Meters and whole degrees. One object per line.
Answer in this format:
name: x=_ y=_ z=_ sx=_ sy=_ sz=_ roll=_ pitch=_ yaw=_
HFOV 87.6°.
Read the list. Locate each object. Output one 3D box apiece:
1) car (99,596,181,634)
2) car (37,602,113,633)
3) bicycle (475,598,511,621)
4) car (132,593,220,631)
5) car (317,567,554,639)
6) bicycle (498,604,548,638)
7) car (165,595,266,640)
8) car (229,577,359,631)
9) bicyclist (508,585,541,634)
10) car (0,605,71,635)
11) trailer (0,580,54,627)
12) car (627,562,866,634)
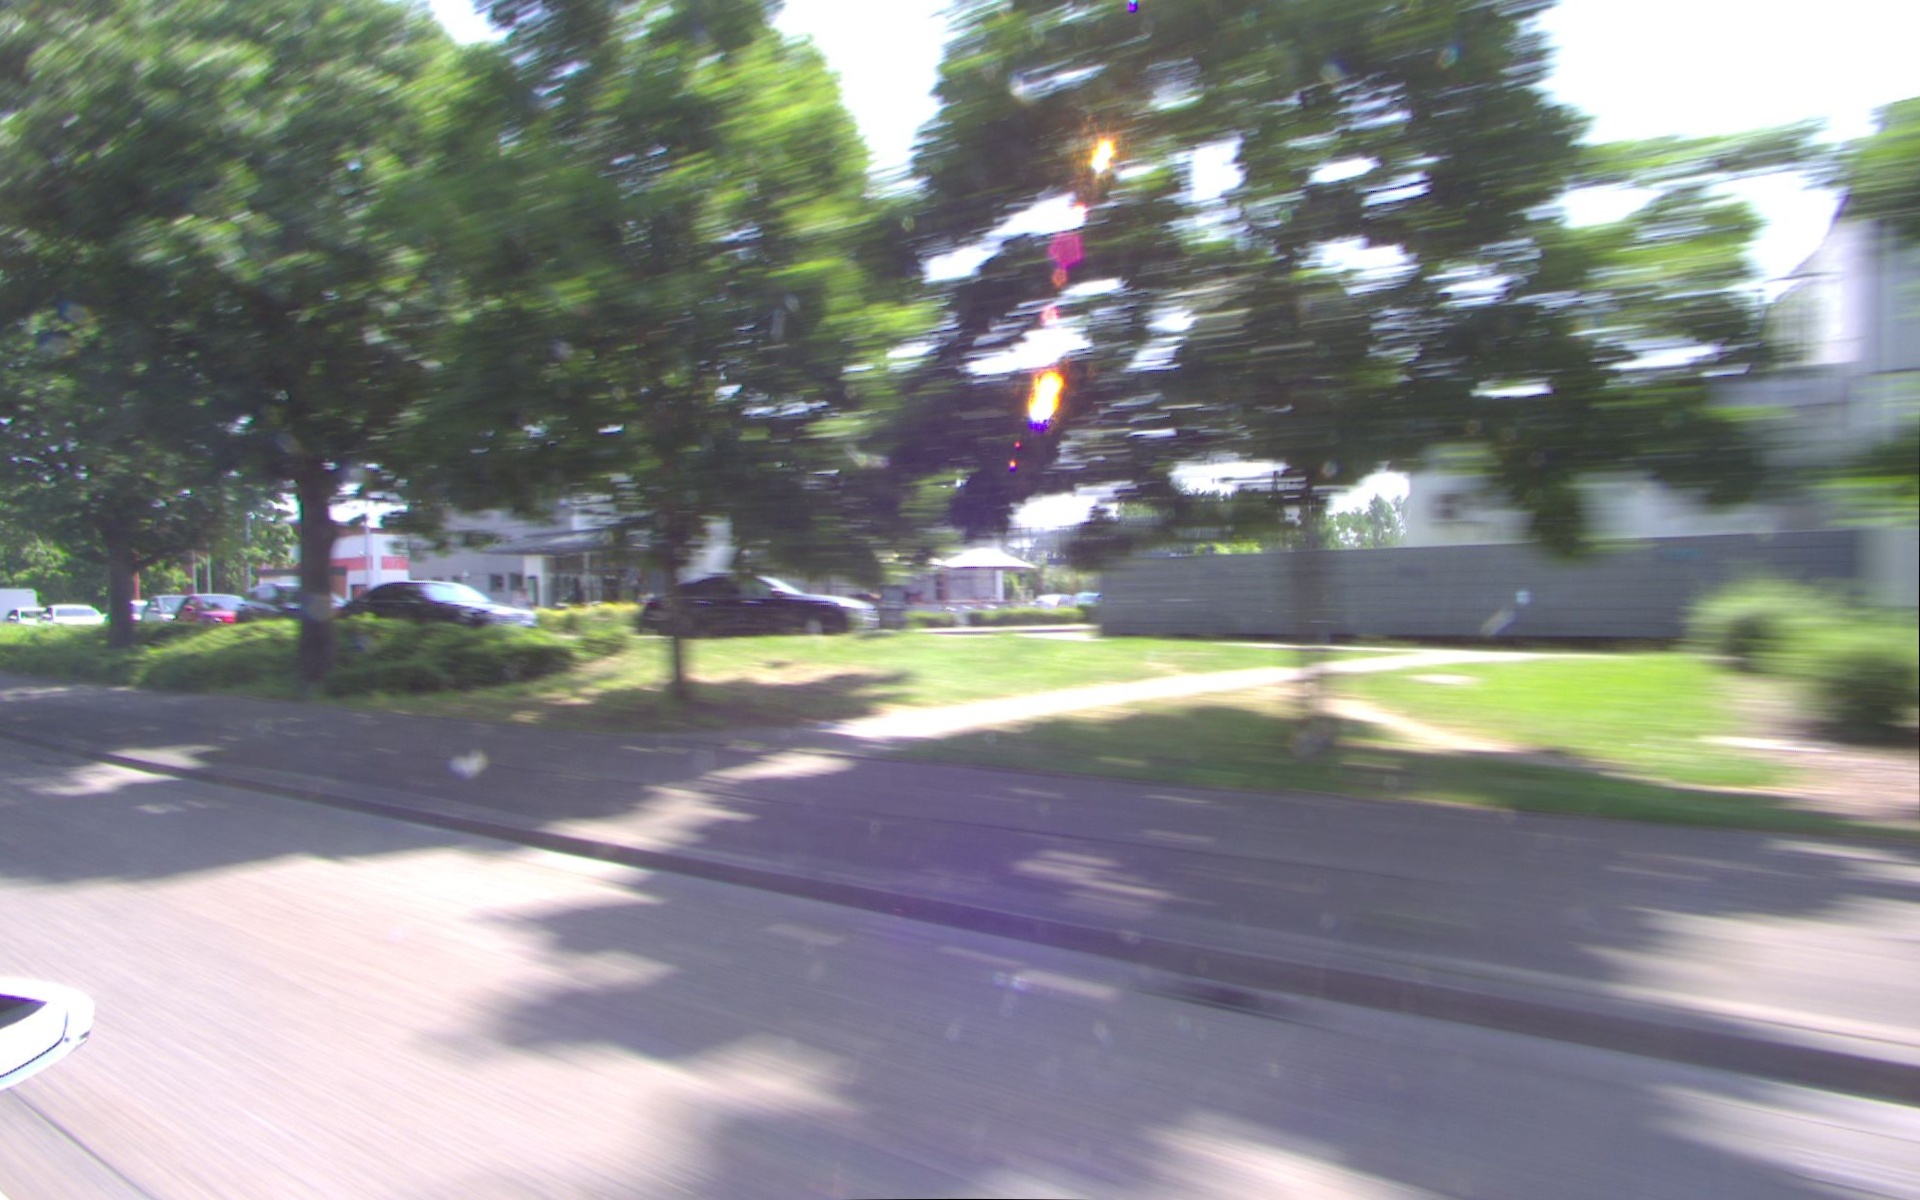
car: x=-29.023 y=0.559 z=35.411 sx=3.822 sy=1.269 sz=1.611 roll=-2 pitch=-2 yaw=41
car: x=-35.251 y=0.706 z=39.857 sx=3.690 sy=1.173 sz=1.588 roll=-2 pitch=-2 yaw=37
bicycle: x=-20.721 y=0.440 z=44.395 sx=2.076 sy=0.993 sz=0.586 roll=-1 pitch=1 yaw=39
car: x=-25.145 y=0.403 z=32.111 sx=2.818 sy=1.137 sz=1.503 roll=-2 pitch=-1 yaw=36
car: x=-11.962 y=0.133 z=22.756 sx=5.512 sy=1.470 sz=1.905 roll=-1 pitch=-1 yaw=26
bicycle: x=-16.585 y=0.784 z=37.947 sx=2.213 sy=1.242 sz=0.688 roll=-1 pitch=1 yaw=36
car: x=-21.977 y=0.542 z=29.516 sx=3.720 sy=1.269 sz=1.611 roll=-2 pitch=-2 yaw=41
car: x=-17.562 y=0.161 z=26.349 sx=4.147 sy=1.268 sz=1.614 roll=-2 pitch=-3 yaw=38
bicyclist: x=-16.468 y=0.343 z=37.848 sx=0.852 sy=1.828 sz=0.776 roll=0 pitch=1 yaw=35
car: x=-40.218 y=0.882 z=43.521 sx=3.583 sy=1.269 sz=1.614 roll=-2 pitch=-1 yaw=36
trailer: x=-44.046 y=0.193 z=46.888 sx=5.418 sy=2.082 sz=1.693 roll=-1 pitch=0 yaw=40
car: x=-4.404 y=-0.034 z=21.199 sx=4.623 sy=1.370 sz=1.953 roll=-1 pitch=0 yaw=0
